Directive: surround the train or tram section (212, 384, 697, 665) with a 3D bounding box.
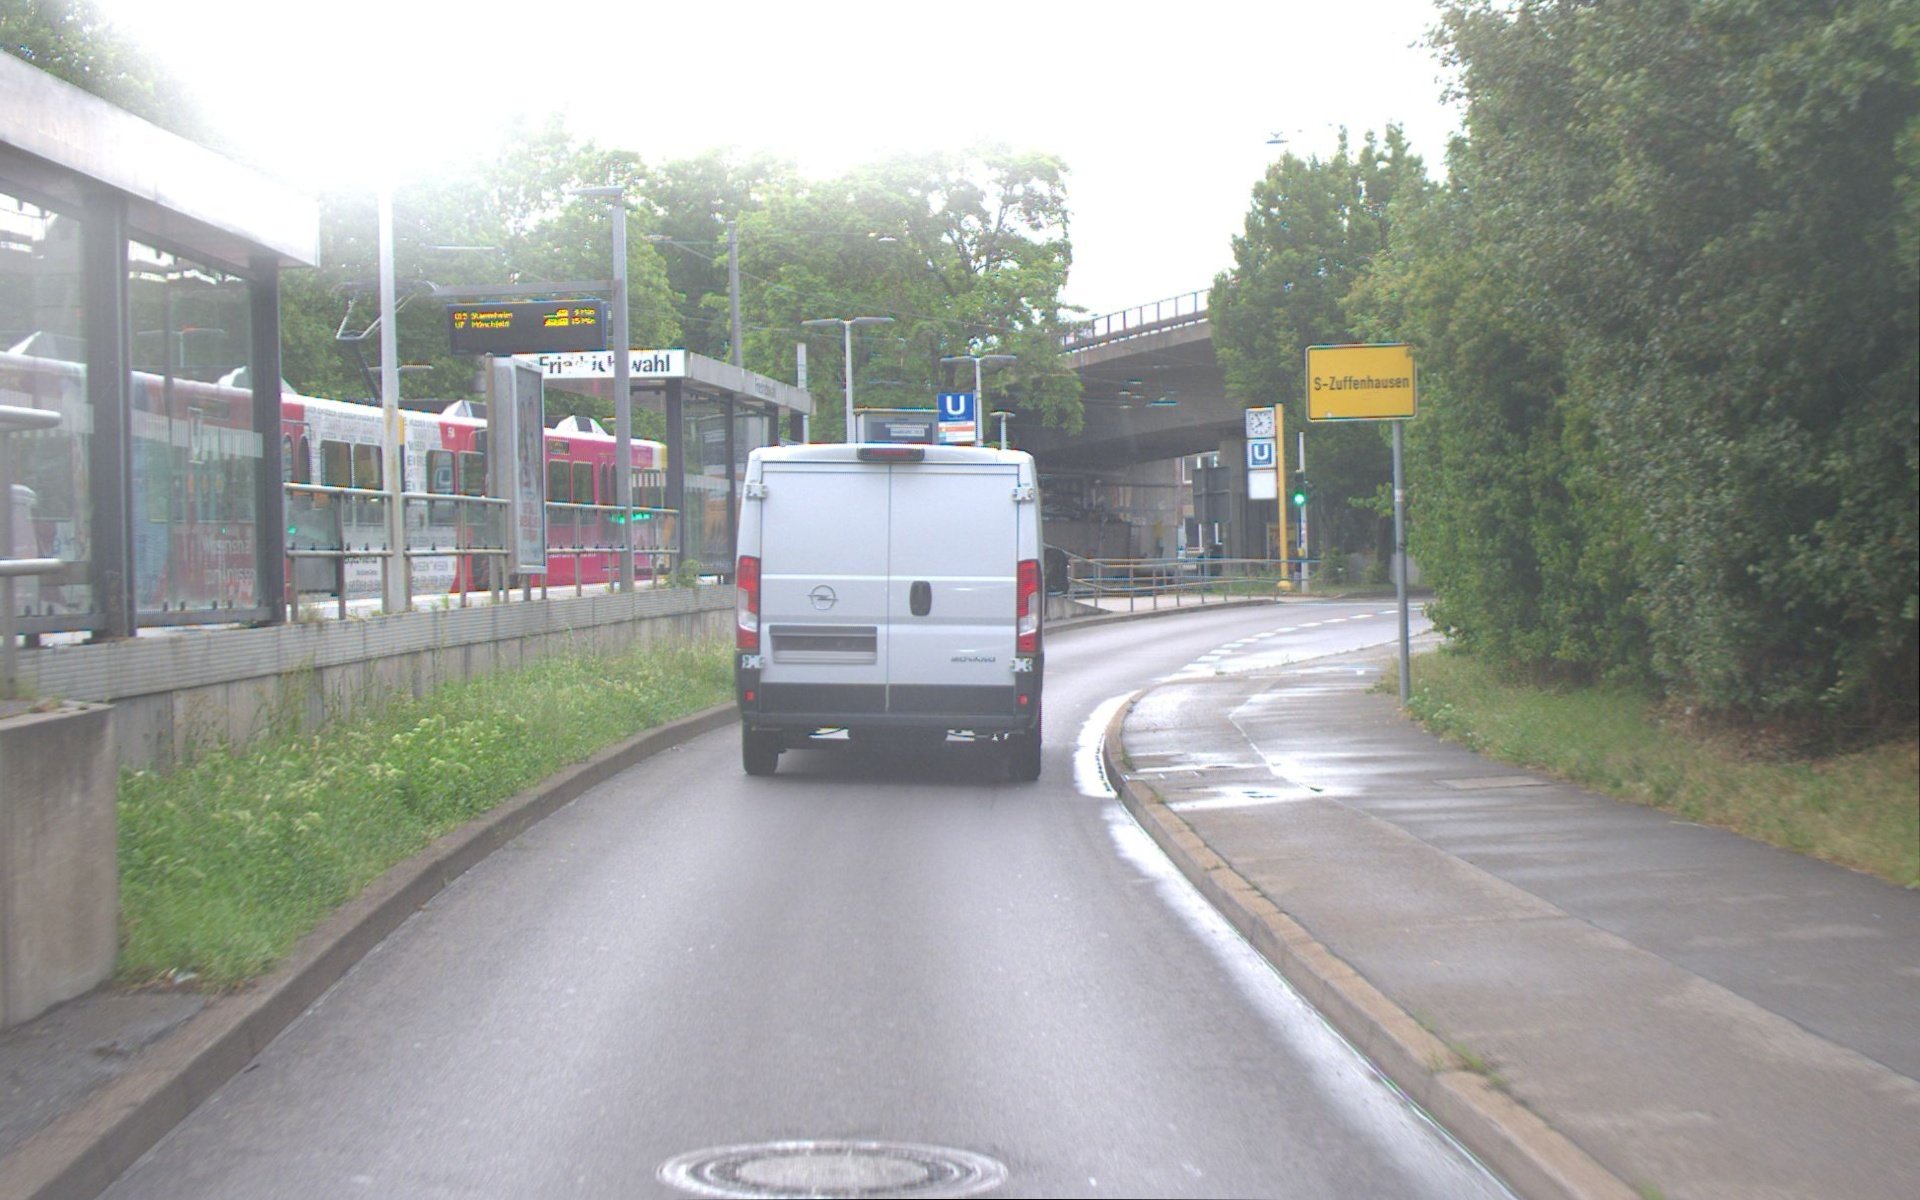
[{"bbox_3d":[-7.992,-1.126,58.826,2.869,3.947,19.325,2,0,8],"label":"train or tram section"}]

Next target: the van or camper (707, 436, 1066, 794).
[{"bbox_3d":[-0.406,0.081,24.483,2.199,2.245,4.683,2,0,3],"label":"van or camper"}]

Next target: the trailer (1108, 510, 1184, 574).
[{"bbox_3d":[8.053,-2.486,149.303,1.993,2.716,4.125,0,0,-17],"label":"trailer"}]

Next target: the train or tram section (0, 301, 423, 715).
[{"bbox_3d":[-10.025,-0.947,39.534,2.868,3.957,19.327,2,0,5],"label":"train or tram section"}]
